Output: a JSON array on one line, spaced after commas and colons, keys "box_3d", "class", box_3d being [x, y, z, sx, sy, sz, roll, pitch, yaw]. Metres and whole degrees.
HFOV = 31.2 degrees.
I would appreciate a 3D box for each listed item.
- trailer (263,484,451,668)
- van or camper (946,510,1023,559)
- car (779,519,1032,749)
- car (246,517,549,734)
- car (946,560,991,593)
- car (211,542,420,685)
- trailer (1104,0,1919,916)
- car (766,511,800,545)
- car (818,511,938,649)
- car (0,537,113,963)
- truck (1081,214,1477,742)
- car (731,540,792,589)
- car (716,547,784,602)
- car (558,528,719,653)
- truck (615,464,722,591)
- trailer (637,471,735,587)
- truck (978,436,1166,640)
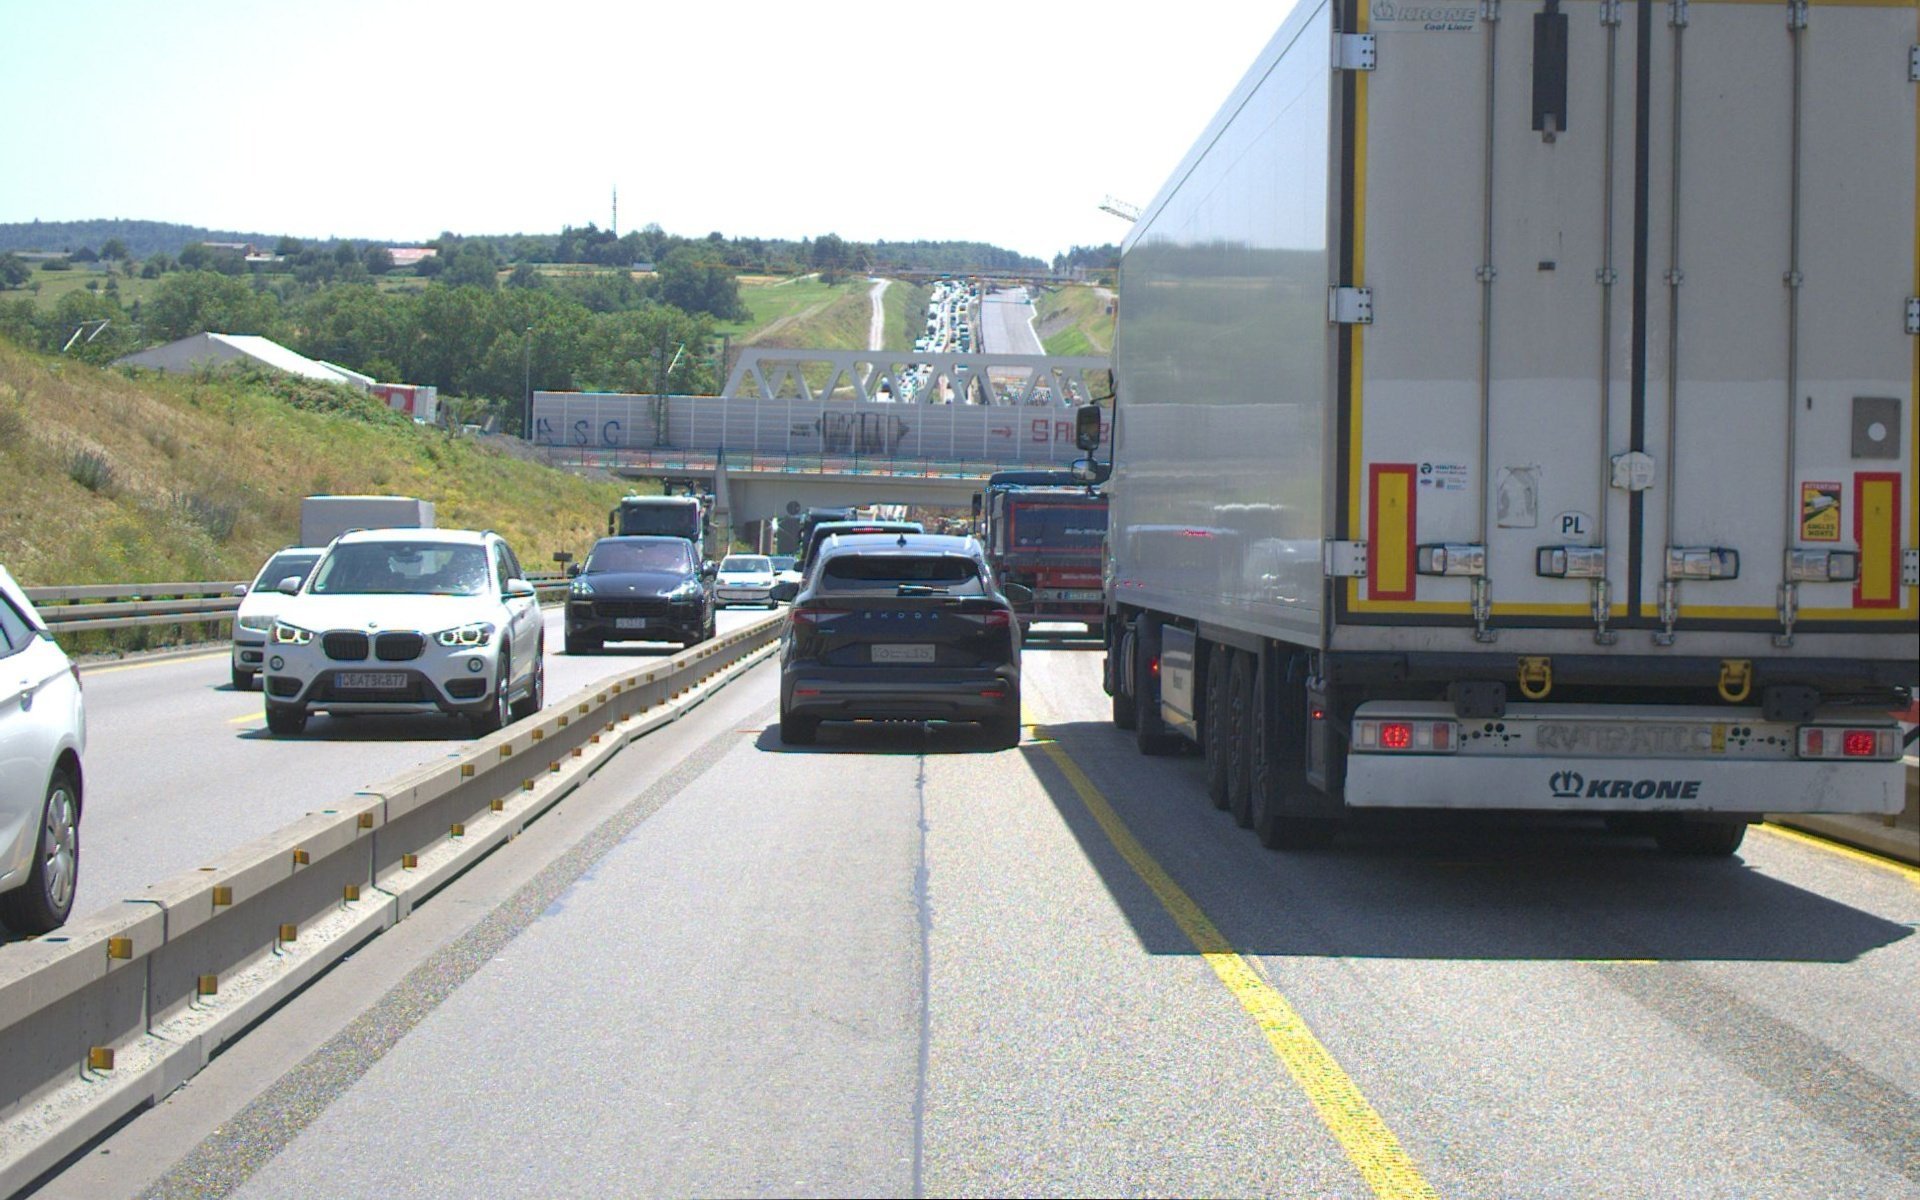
[{"box_3d": [-6.935, -0.300, 39.858, 1.646, 2.018, 4.271, 0, 1, -3], "class": "trailer"}, {"box_3d": [1.716, -4.715, 246.944, 3.942, 3.408, 8.409, 1, 1, -11], "class": "van or camper"}, {"box_3d": [-0.410, 0.211, 26.606, 1.800, 1.615, 3.298, 1, 2, -1], "class": "car"}, {"box_3d": [-4.447, 0.151, 27.768, 1.815, 1.587, 4.290, 1, 1, -1], "class": "car"}, {"box_3d": [0.298, -0.906, 129.577, 1.538, 1.202, 3.311, 0, 1, -3], "class": "car"}, {"box_3d": [-6.734, 0.100, 36.254, 1.646, 1.411, 4.001, 0, 1, -3], "class": "car"}, {"box_3d": [2.701, -0.832, 21.064, 2.801, 4.044, 14.118, 1, 1, -1], "class": "trailer"}, {"box_3d": [-9.764, -3.972, 189.778, 1.732, 1.787, 3.581, 1, 1, -1], "class": "car"}, {"box_3d": [-1.095, -0.298, 47.206, 1.475, 1.789, 3.297, -2, 1, 1], "class": "car"}, {"box_3d": [-4.222, 0.522, 11.485, 1.806, 1.472, 4.281, 1, 1, -1], "class": "car"}, {"box_3d": [2.554, -0.971, 29.016, 2.776, 4.044, 4.905, 1, 1, -1], "class": "truck"}, {"box_3d": [-5.914, -1.083, 102.537, 1.684, 1.425, 4.123, 0, 1, -2], "class": "car"}, {"box_3d": [-5.556, -0.693, 91.232, 1.684, 1.425, 3.293, 0, 1, -2], "class": "car"}, {"box_3d": [-4.571, -0.170, 49.411, 1.891, 1.702, 4.561, 0, 1, 0], "class": "car"}, {"box_3d": [-8.860, -2.207, 105.439, 2.587, 3.710, 9.333, 0, 1, -1], "class": "truck"}, {"box_3d": [-8.975, -2.317, 113.254, 2.587, 3.624, 9.079, 0, 1, -1], "class": "trailer"}, {"box_3d": [1.760, -1.052, 59.465, 2.814, 3.124, 12.838, 1, 1, 0], "class": "truck"}]
